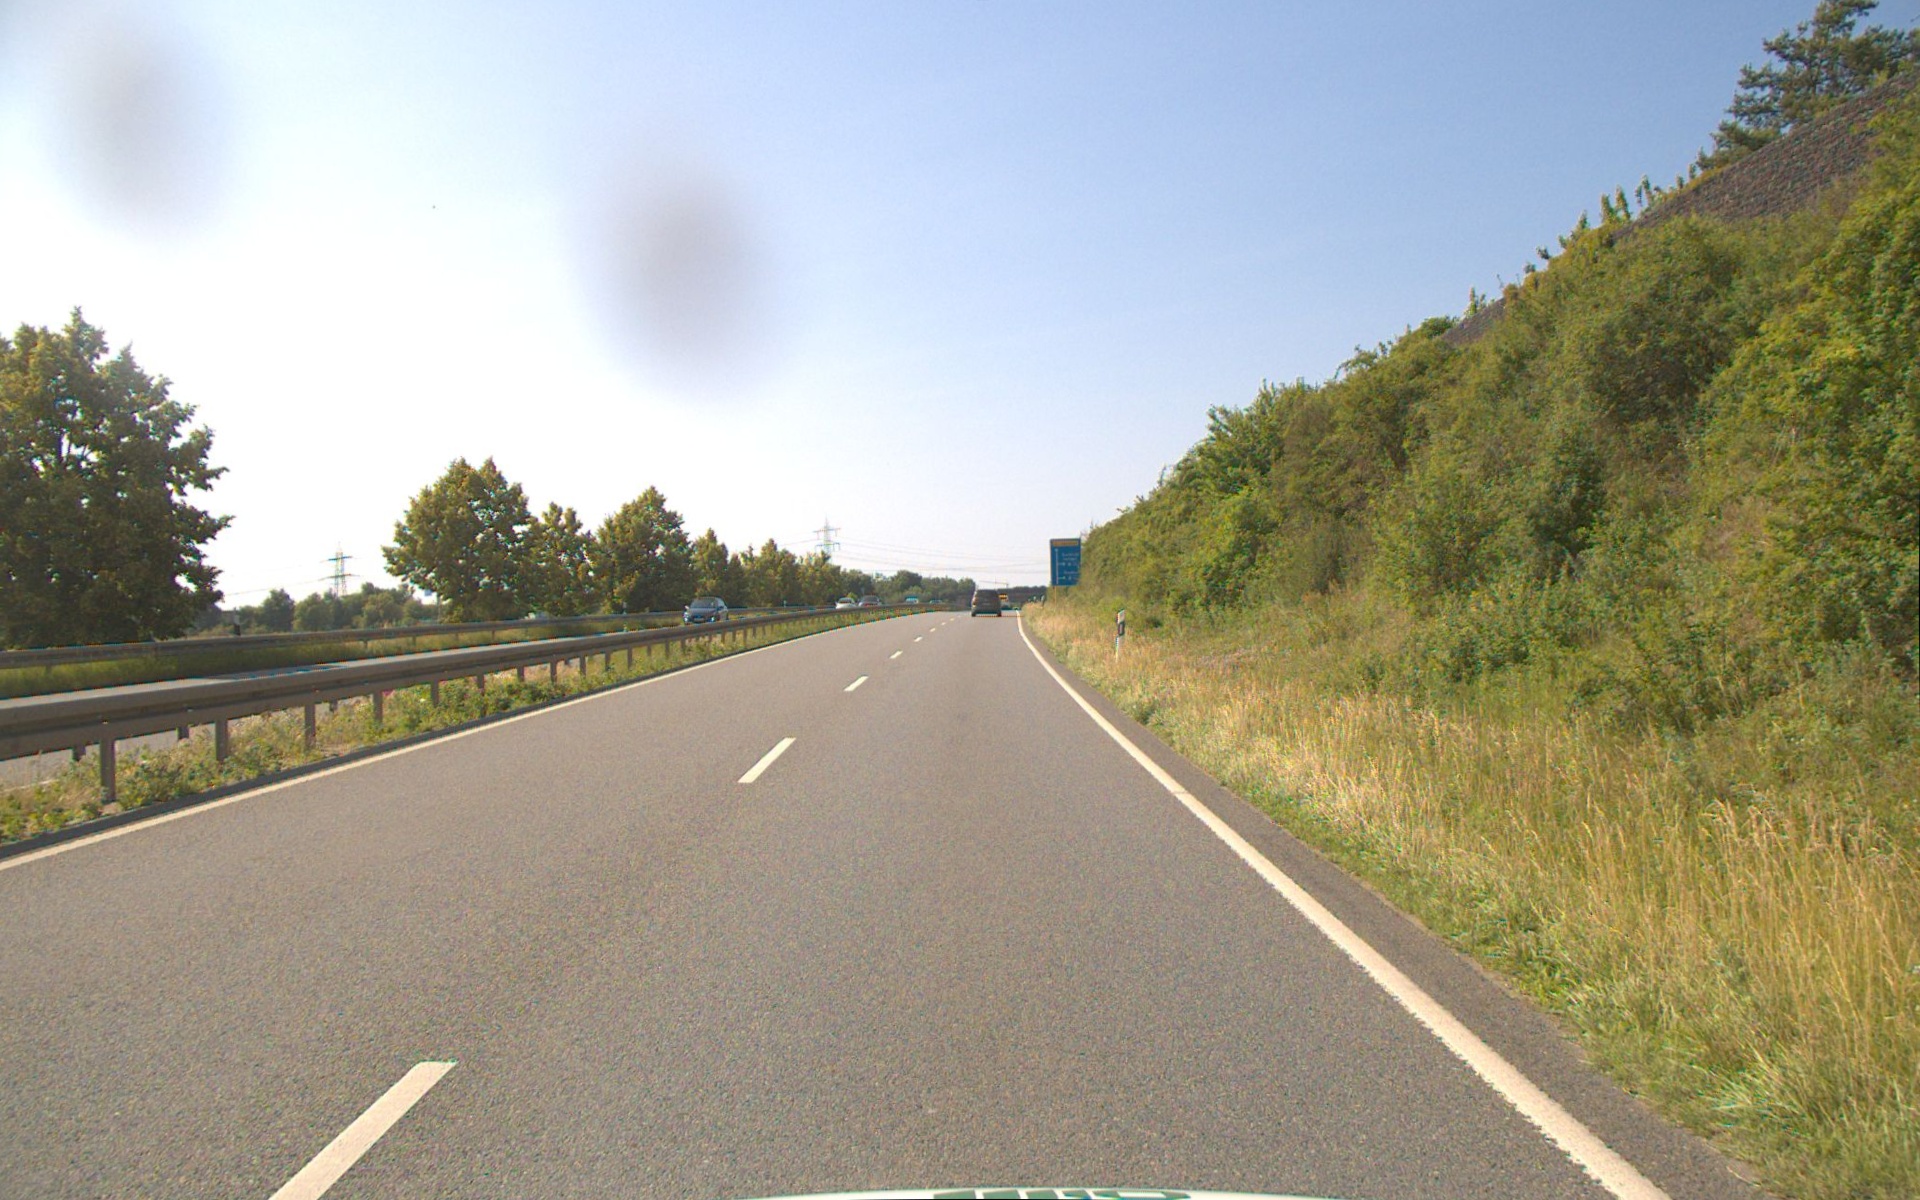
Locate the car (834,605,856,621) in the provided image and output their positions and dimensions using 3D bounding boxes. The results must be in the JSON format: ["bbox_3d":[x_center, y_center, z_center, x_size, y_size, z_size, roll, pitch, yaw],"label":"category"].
[{"bbox_3d":[-10.673,1.182,154.164,1.655,1.462,3.940,0,0,1],"label":"car"}]

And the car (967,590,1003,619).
[{"bbox_3d":[1.517,0.290,98.422,1.811,1.673,4.002,-1,-1,5],"label":"car"}]

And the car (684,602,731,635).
[{"bbox_3d":[-13.065,0.935,85.700,1.617,1.580,4.562,1,0,1],"label":"car"}]
